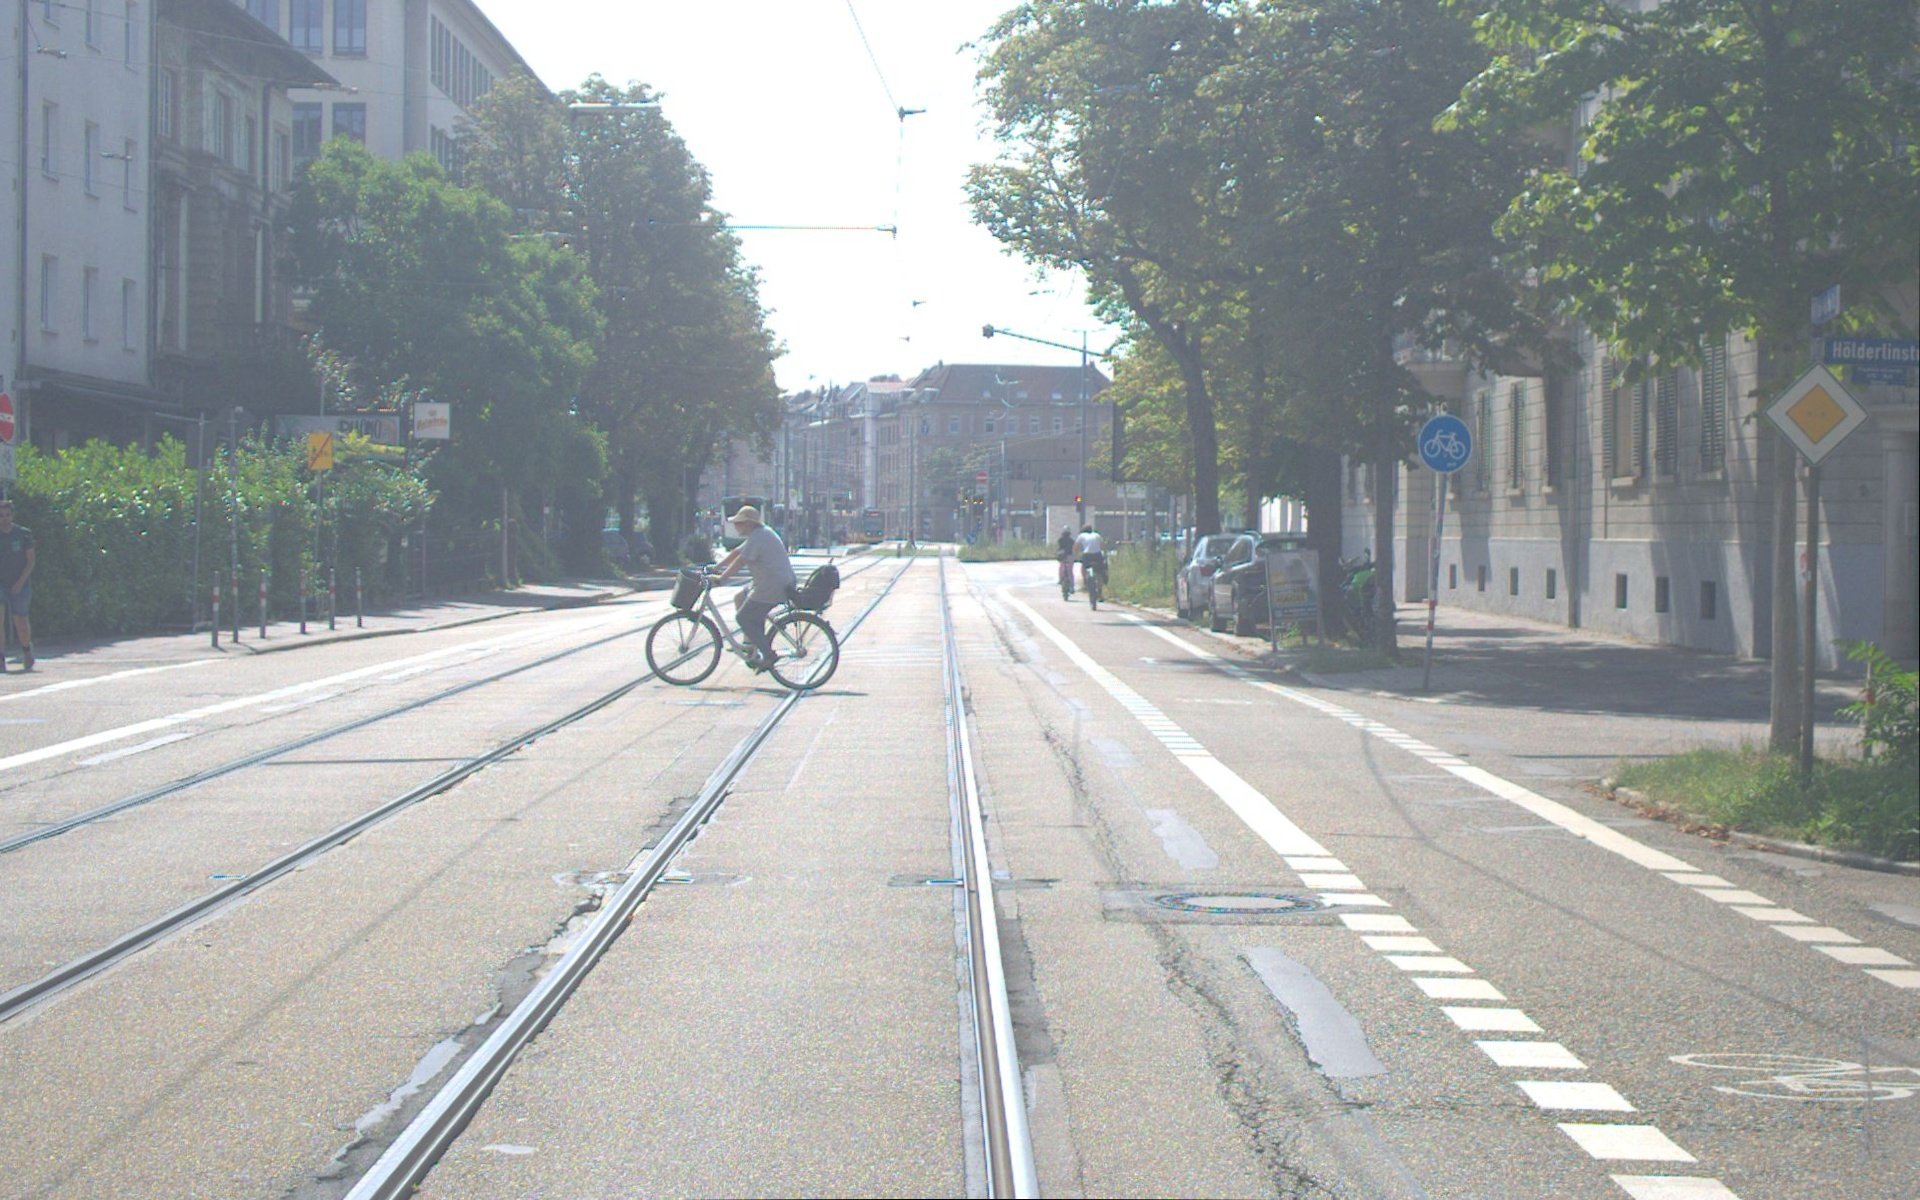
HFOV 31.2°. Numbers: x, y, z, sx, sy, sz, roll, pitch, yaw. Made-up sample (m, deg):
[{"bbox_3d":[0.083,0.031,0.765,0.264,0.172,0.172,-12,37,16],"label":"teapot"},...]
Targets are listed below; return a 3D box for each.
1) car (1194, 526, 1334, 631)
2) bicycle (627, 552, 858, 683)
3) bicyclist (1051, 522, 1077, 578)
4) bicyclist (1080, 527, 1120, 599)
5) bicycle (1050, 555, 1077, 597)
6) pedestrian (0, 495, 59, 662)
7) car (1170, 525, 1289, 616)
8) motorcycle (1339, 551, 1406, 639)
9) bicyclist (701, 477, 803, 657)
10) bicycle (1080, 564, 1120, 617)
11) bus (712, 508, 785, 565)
[{"bbox_3d":[4.384,-0.315,49.969,1.583,1.459,3.416,1,0,-2],"label":"car"},{"bbox_3d":[-2.001,0.154,31.850,2.035,1.147,0.785,1,1,4],"label":"bicycle"},{"bbox_3d":[2.378,-1.136,78.550,0.579,1.274,0.471,1,1,2],"label":"bicyclist"},{"bbox_3d":[2.721,-0.728,66.879,0.758,1.387,0.779,1,1,1],"label":"bicyclist"},{"bbox_3d":[2.376,-0.554,78.599,0.588,0.936,2.172,1,1,2],"label":"bicycle"},{"bbox_3d":[-10.086,-0.233,36.477,0.779,1.750,1.040,0,1,0],"label":"pedestrian"},{"bbox_3d":[4.481,-0.488,57.635,1.583,1.459,3.467,1,0,-2],"label":"car"},{"bbox_3d":[5.209,-0.080,43.506,0.549,1.064,2.330,1,1,0],"label":"motorcycle"},{"bbox_3d":[-1.921,-0.309,31.830,0.823,1.637,0.785,1,1,4],"label":"bicyclist"},{"bbox_3d":[2.726,-0.191,67.123,0.759,0.987,2.298,1,1,2],"label":"bicycle"},{"bbox_3d":[-12.778,-3.864,209.061,3.735,3.352,15.121,1,1,-1],"label":"bus"}]
